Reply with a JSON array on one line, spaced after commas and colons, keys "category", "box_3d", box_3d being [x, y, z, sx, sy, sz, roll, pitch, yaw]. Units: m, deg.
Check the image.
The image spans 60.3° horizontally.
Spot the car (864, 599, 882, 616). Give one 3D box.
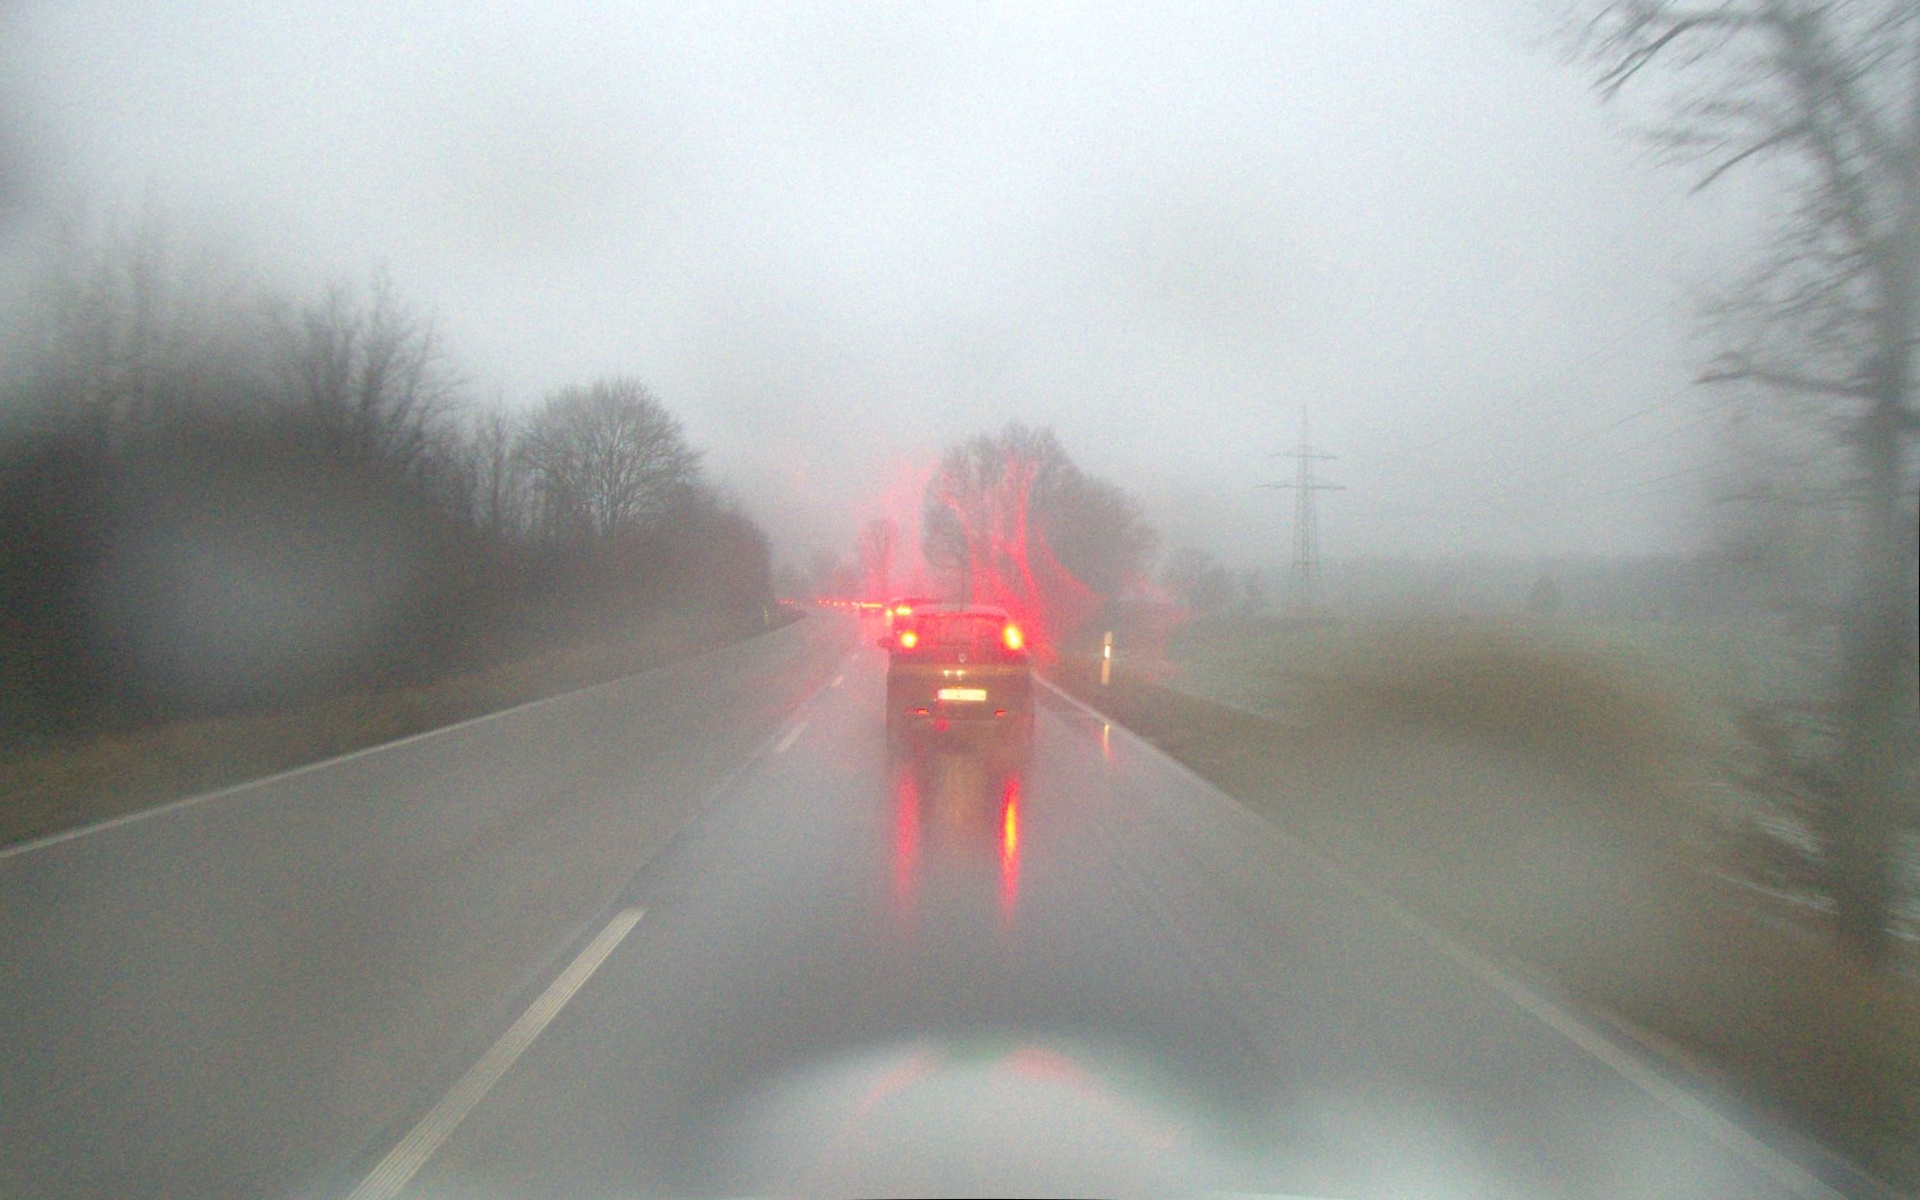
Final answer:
[{"category": "car", "box_3d": [-7.505, 0.665, 142.788, 1.516, 1.421, 3.867, 1, 0, -2]}]

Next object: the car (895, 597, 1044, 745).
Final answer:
[{"category": "car", "box_3d": [0.083, 0.765, 19.628, 1.570, 1.549, 3.869, 1, 0, -1]}]

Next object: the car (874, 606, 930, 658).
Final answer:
[{"category": "car", "box_3d": [-1.715, 0.899, 48.068, 1.516, 1.421, 3.867, 1, 0, -3]}]
